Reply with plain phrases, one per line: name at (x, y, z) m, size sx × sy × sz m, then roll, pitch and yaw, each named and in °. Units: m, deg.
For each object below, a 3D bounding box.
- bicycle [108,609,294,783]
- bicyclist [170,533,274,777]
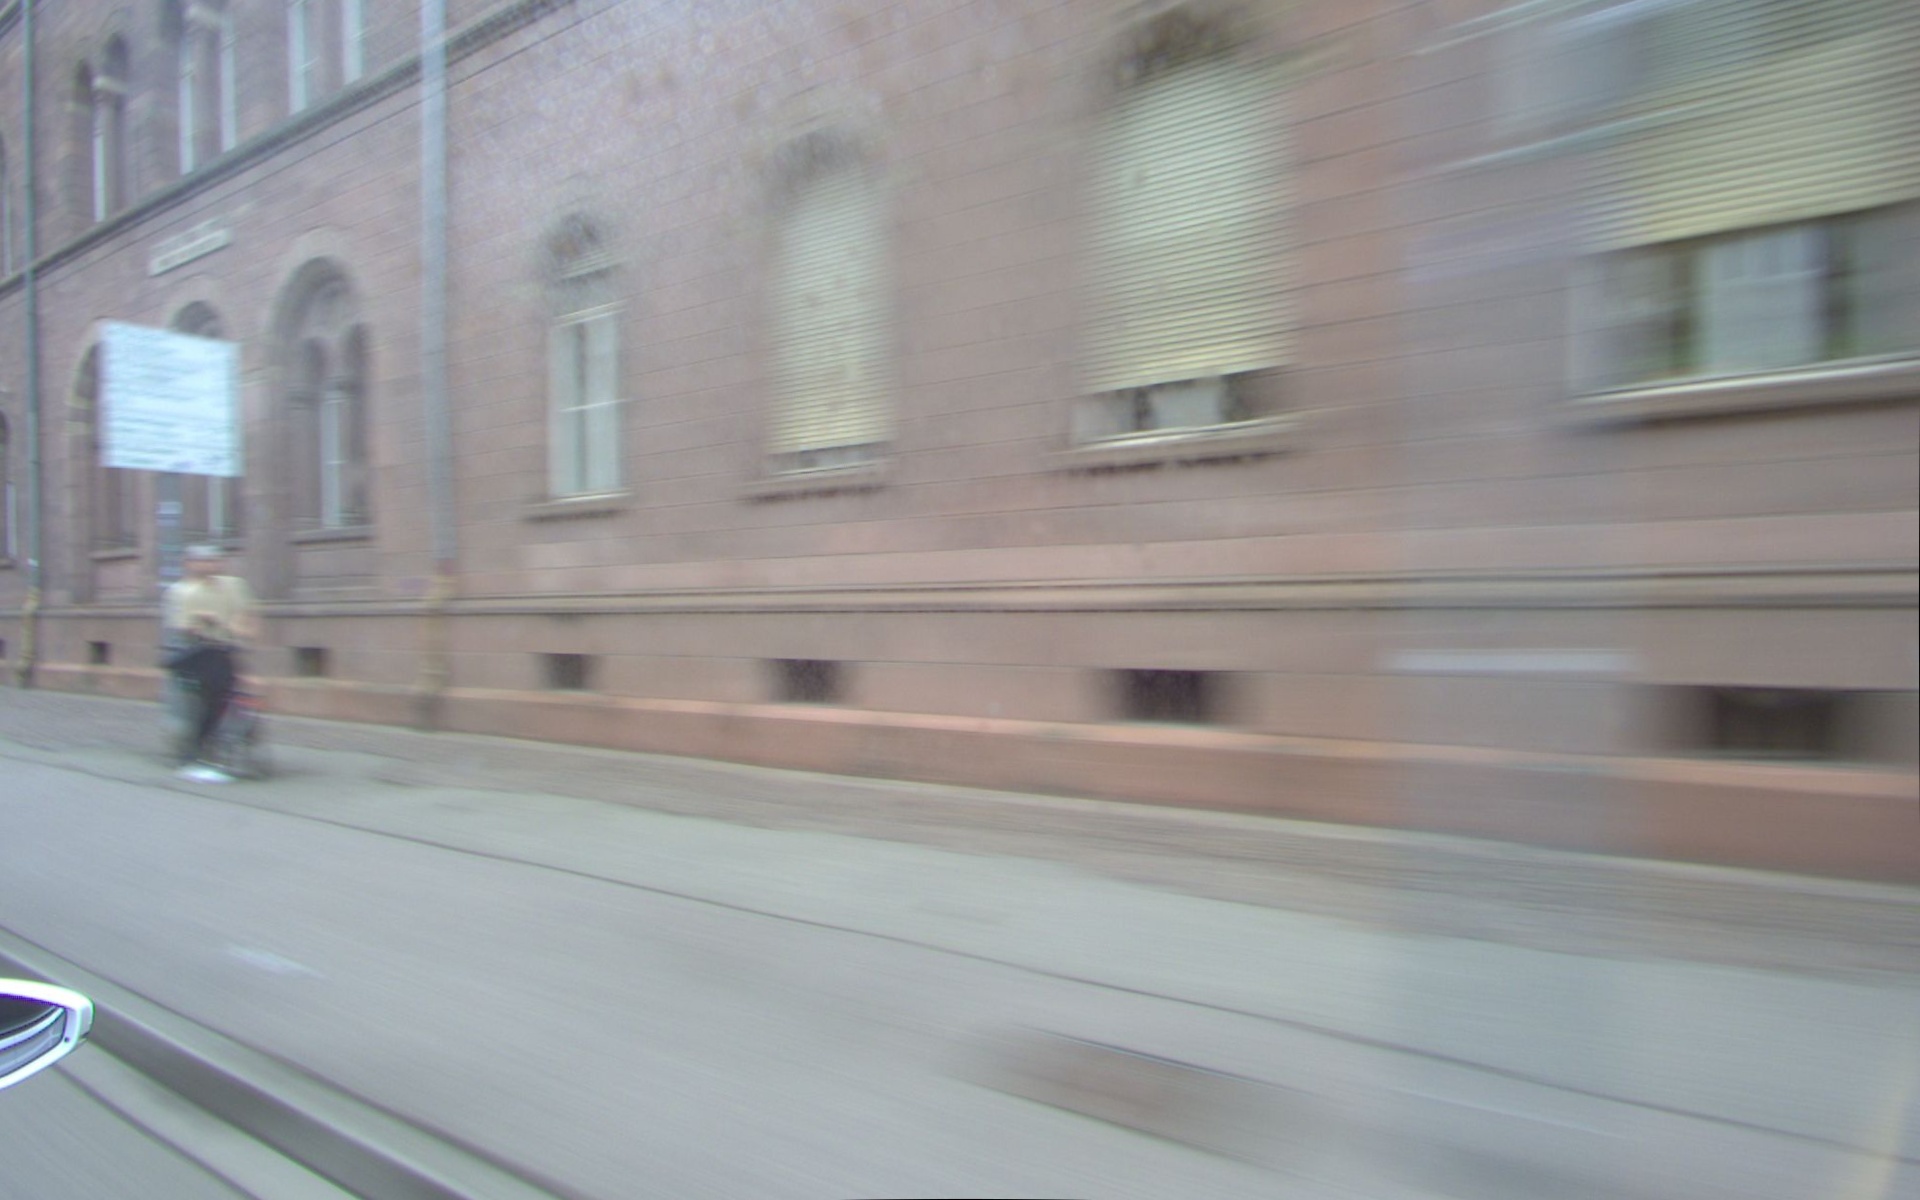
bicycle at (-6.318, 0.731, 8.293) m, size 2.195 × 1.293 × 0.444 m, roll 0°, pitch 2°, yaw 32°
bicyclist at (-5.959, 0.428, 8.093) m, size 0.444 × 1.883 × 0.527 m, roll 0°, pitch 1°, yaw 32°
